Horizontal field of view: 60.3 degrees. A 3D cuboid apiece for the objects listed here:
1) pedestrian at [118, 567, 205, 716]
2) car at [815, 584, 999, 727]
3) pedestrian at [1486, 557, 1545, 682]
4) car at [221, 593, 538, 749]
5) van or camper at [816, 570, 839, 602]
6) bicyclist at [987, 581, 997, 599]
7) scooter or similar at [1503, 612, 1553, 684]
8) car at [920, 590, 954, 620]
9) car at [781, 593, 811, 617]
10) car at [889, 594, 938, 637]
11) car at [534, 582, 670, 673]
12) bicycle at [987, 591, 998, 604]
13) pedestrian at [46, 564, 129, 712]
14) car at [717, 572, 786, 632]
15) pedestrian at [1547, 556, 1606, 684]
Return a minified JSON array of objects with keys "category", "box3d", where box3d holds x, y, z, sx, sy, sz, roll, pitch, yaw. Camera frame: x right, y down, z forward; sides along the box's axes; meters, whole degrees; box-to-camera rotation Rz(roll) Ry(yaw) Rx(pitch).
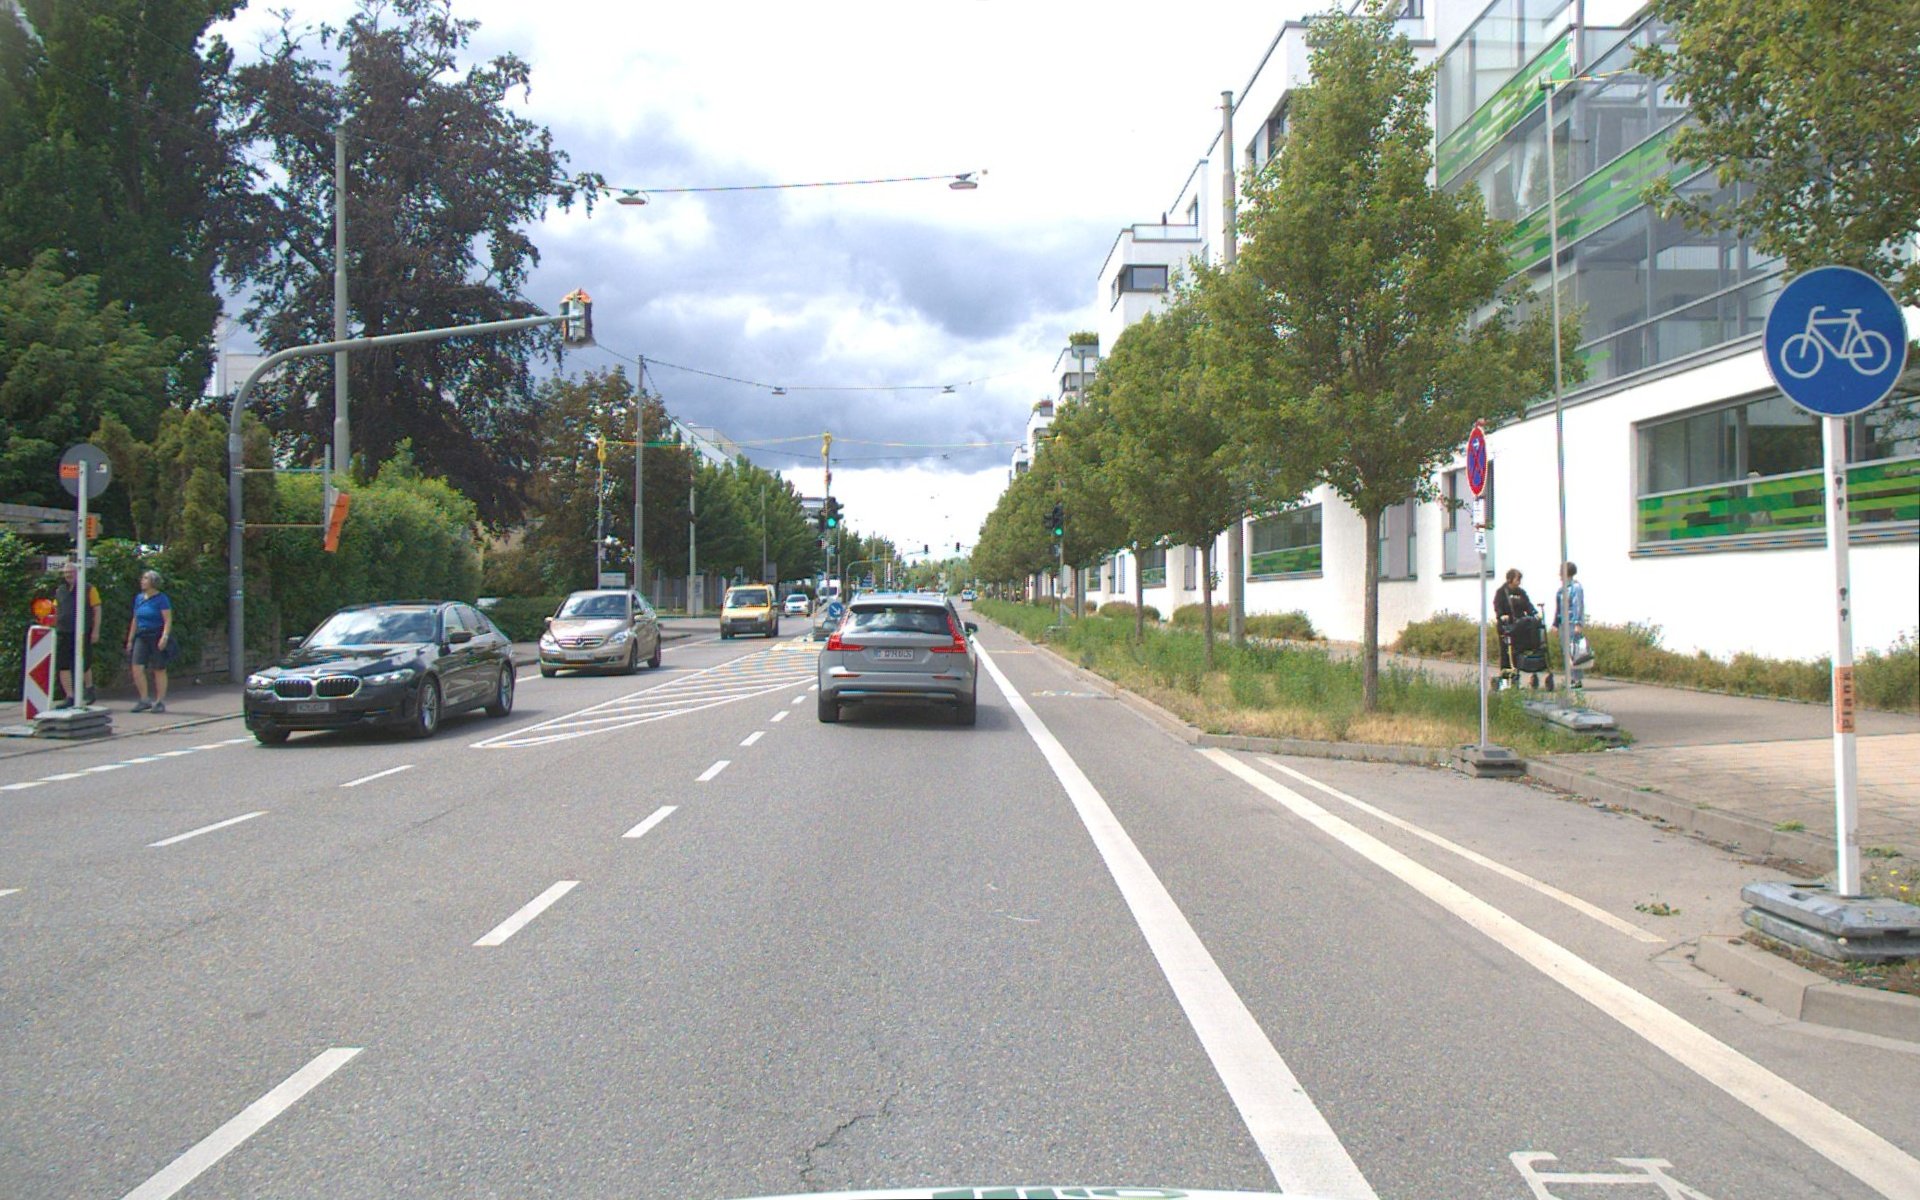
[{"category":"pedestrian","box3d":[-10.407,0.524,21.572,0.667,1.887,0.892,-1,0,-1]},{"category":"car","box3d":[-0.539,0.583,20.091,1.815,1.539,4.002,0,1,4]},{"category":"pedestrian","box3d":[7.642,0.259,22.756,0.593,1.683,0.552,-1,1,-1]},{"category":"car","box3d":[-6.464,0.702,19.074,1.953,1.424,4.810,-3,1,-1]},{"category":"van or camper","box3d":[-12.136,-1.295,151.598,1.955,2.781,6.046,-2,1,-5]},{"category":"bicyclist","box3d":[3.670,-1.134,188.898,0.993,2.048,1.131,-2,1,-2]},{"category":"scooter or similar","box3d":[7.613,0.637,22.189,0.413,0.921,0.682,-1,1,-1]},{"category":"car","box3d":[-1.284,0.268,91.832,1.807,1.539,3.999,0,1,-2]},{"category":"car","box3d":[-10.977,0.324,110.844,1.627,1.542,3.999,-1,1,-1]},{"category":"car","box3d":[-1.776,0.568,63.141,1.817,1.539,3.999,0,1,-2]},{"category":"car","box3d":[-6.901,0.480,32.280,1.714,1.582,4.401,-2,1,-1]},{"category":"bicycle","box3d":[3.705,-0.276,188.654,1.045,1.478,2.977,-2,1,-2]},{"category":"pedestrian","box3d":[-11.346,0.482,21.535,0.667,1.887,0.706,-1,0,-1]},{"category":"car","box3d":[-7.080,0.021,56.621,1.804,1.938,4.685,-1,1,-1]},{"category":"pedestrian","box3d":[8.268,0.264,22.195,0.539,1.683,0.607,-1,1,-1]}]
